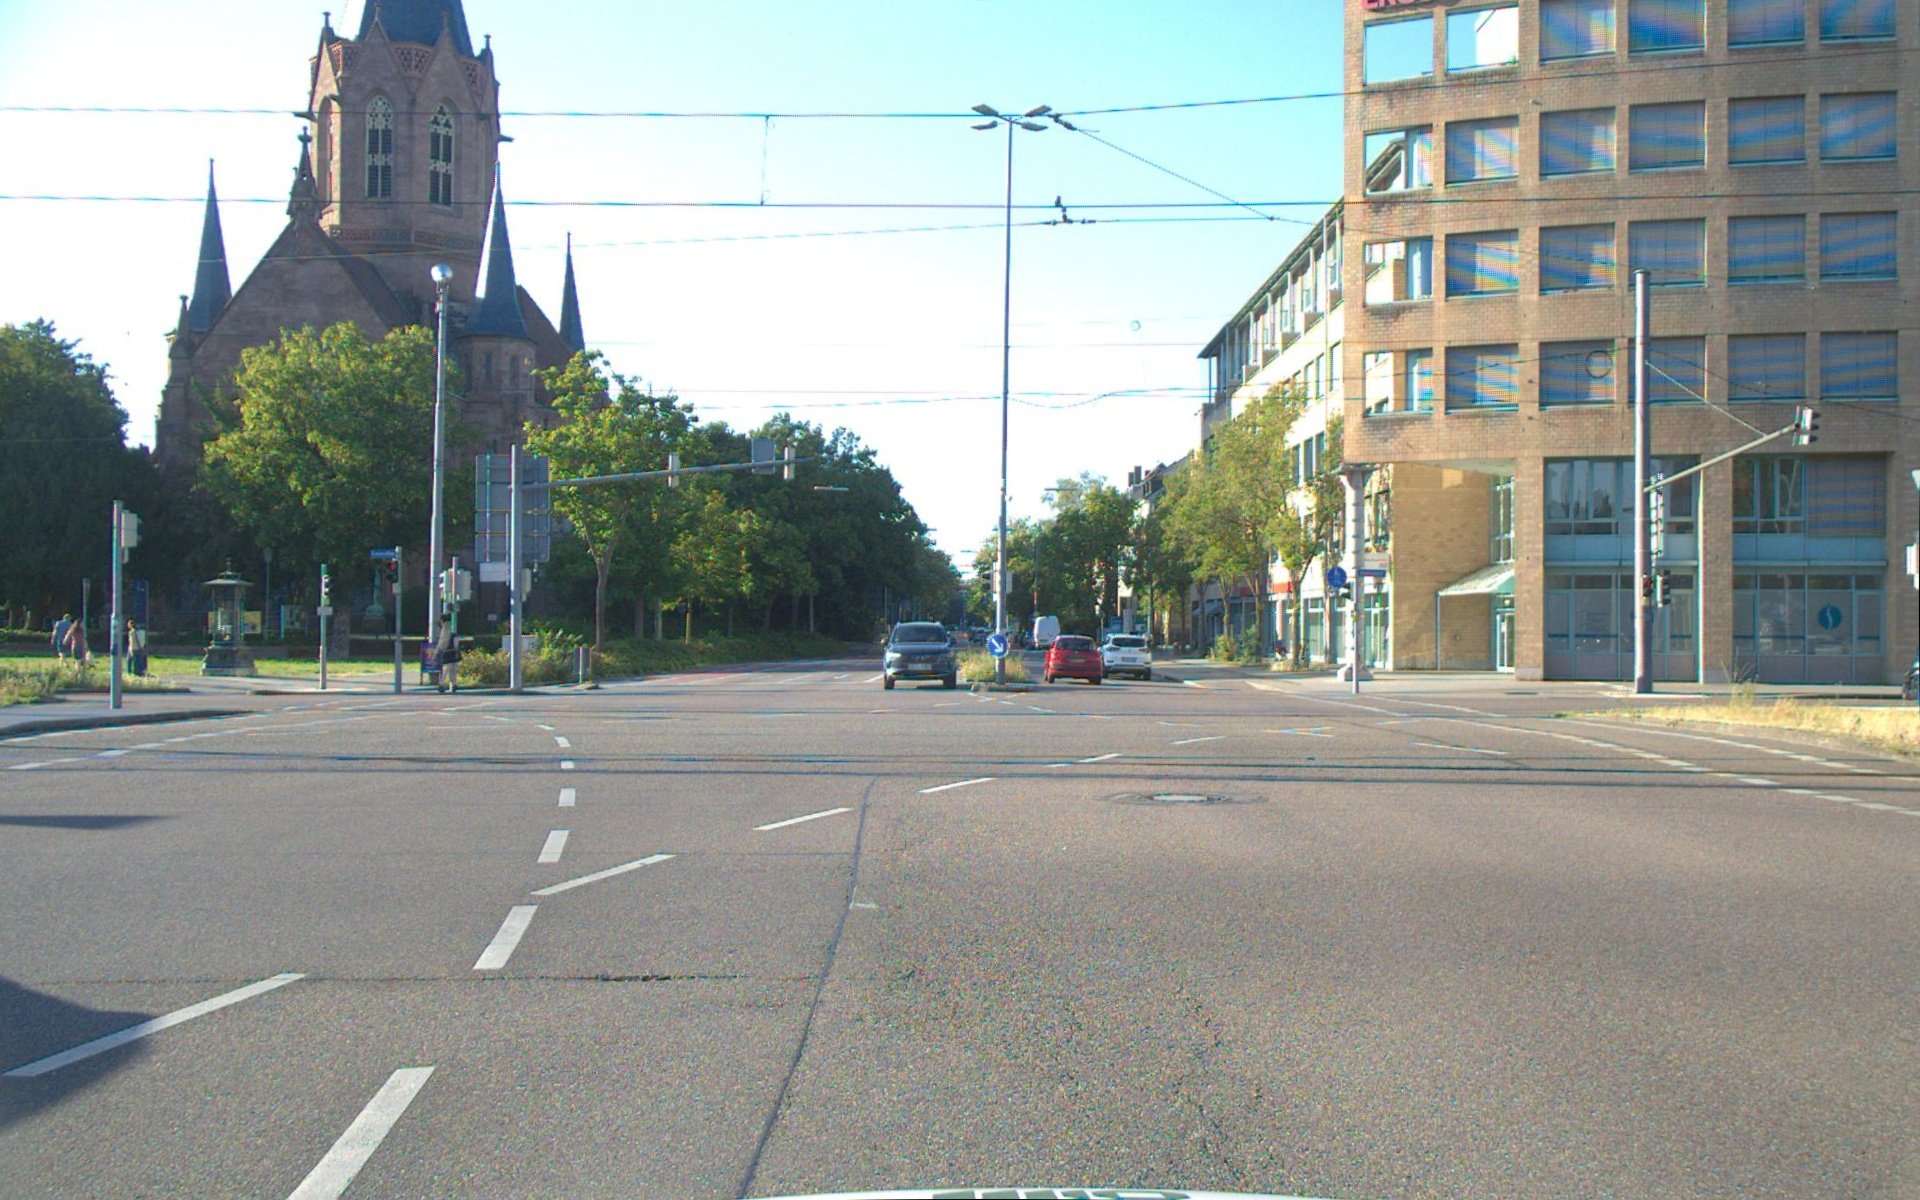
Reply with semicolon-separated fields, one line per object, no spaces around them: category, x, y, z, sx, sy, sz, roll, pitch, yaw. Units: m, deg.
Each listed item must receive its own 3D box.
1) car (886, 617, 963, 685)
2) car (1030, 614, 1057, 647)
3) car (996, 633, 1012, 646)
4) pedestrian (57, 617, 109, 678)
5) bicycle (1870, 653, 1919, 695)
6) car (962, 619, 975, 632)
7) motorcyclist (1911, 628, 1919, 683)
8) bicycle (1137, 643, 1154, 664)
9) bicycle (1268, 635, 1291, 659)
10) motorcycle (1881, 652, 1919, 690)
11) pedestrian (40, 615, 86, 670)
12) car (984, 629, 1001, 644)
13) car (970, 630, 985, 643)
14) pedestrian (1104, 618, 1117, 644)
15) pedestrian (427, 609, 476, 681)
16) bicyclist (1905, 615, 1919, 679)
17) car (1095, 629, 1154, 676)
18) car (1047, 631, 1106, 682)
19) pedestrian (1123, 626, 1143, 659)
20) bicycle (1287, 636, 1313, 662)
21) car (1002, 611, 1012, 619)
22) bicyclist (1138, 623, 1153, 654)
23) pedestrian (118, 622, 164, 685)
car;-1.033;1.383;45.197;1.954;1.754;5.027;0;-2;-3
car;6.666;2.429;132.089;1.952;2.483;4.000;1;-1;1
car;4.300;3.871;162.508;1.562;1.289;3.266;0;0;1
pedestrian;-25.293;1.368;47.690;0.993;1.726;0.844;1;-1;23
bicycle;24.686;1.857;41.649;2.900;1.018;1.154;0;-1;-1
car;1.243;3.670;238.842;1.847;1.700;4.000;1;-1;1
motorcyclist;26.102;1.478;43.956;1.043;1.461;1.032;0;-1;0
bicycle;8.811;2.535;78.592;0.580;0.959;1.978;2;0;1
bicycle;13.954;2.062;72.296;0.633;1.012;2.081;0;-1;0
motorcycle;26.086;1.885;43.946;2.662;0.981;1.032;0;-1;0
pedestrian;-28.979;1.374;53.453;0.993;1.726;0.844;2;-1;-4
car;2.916;3.310;149.316;1.562;1.289;3.266;0;0;1
car;1.931;3.970;180.025;1.562;1.289;3.266;0;0;1
pedestrian;10.757;2.217;118.332;0.830;1.835;0.776;0;-1;1
pedestrian;-12.735;1.116;41.427;0.945;1.770;0.812;0;-1;2
bicyclist;24.734;1.188;41.652;1.198;1.599;1.154;0;-1;-1
car;6.212;1.970;62.902;1.877;1.635;4.269;1;-1;1
car;3.651;1.766;52.470;1.635;1.488;4.000;1;-1;1
pedestrian;10.614;2.621;101.536;1.085;2.011;1.161;0;-1;1
bicycle;13.917;1.999;67.719;0.633;1.012;2.081;0;-1;0
car;6.910;2.195;243.189;1.562;1.289;3.266;0;0;1
bicyclist;8.831;1.827;78.582;0.580;1.393;0.930;2;0;1
pedestrian;-23.001;1.502;46.472;0.874;1.726;0.710;1;-1;21
